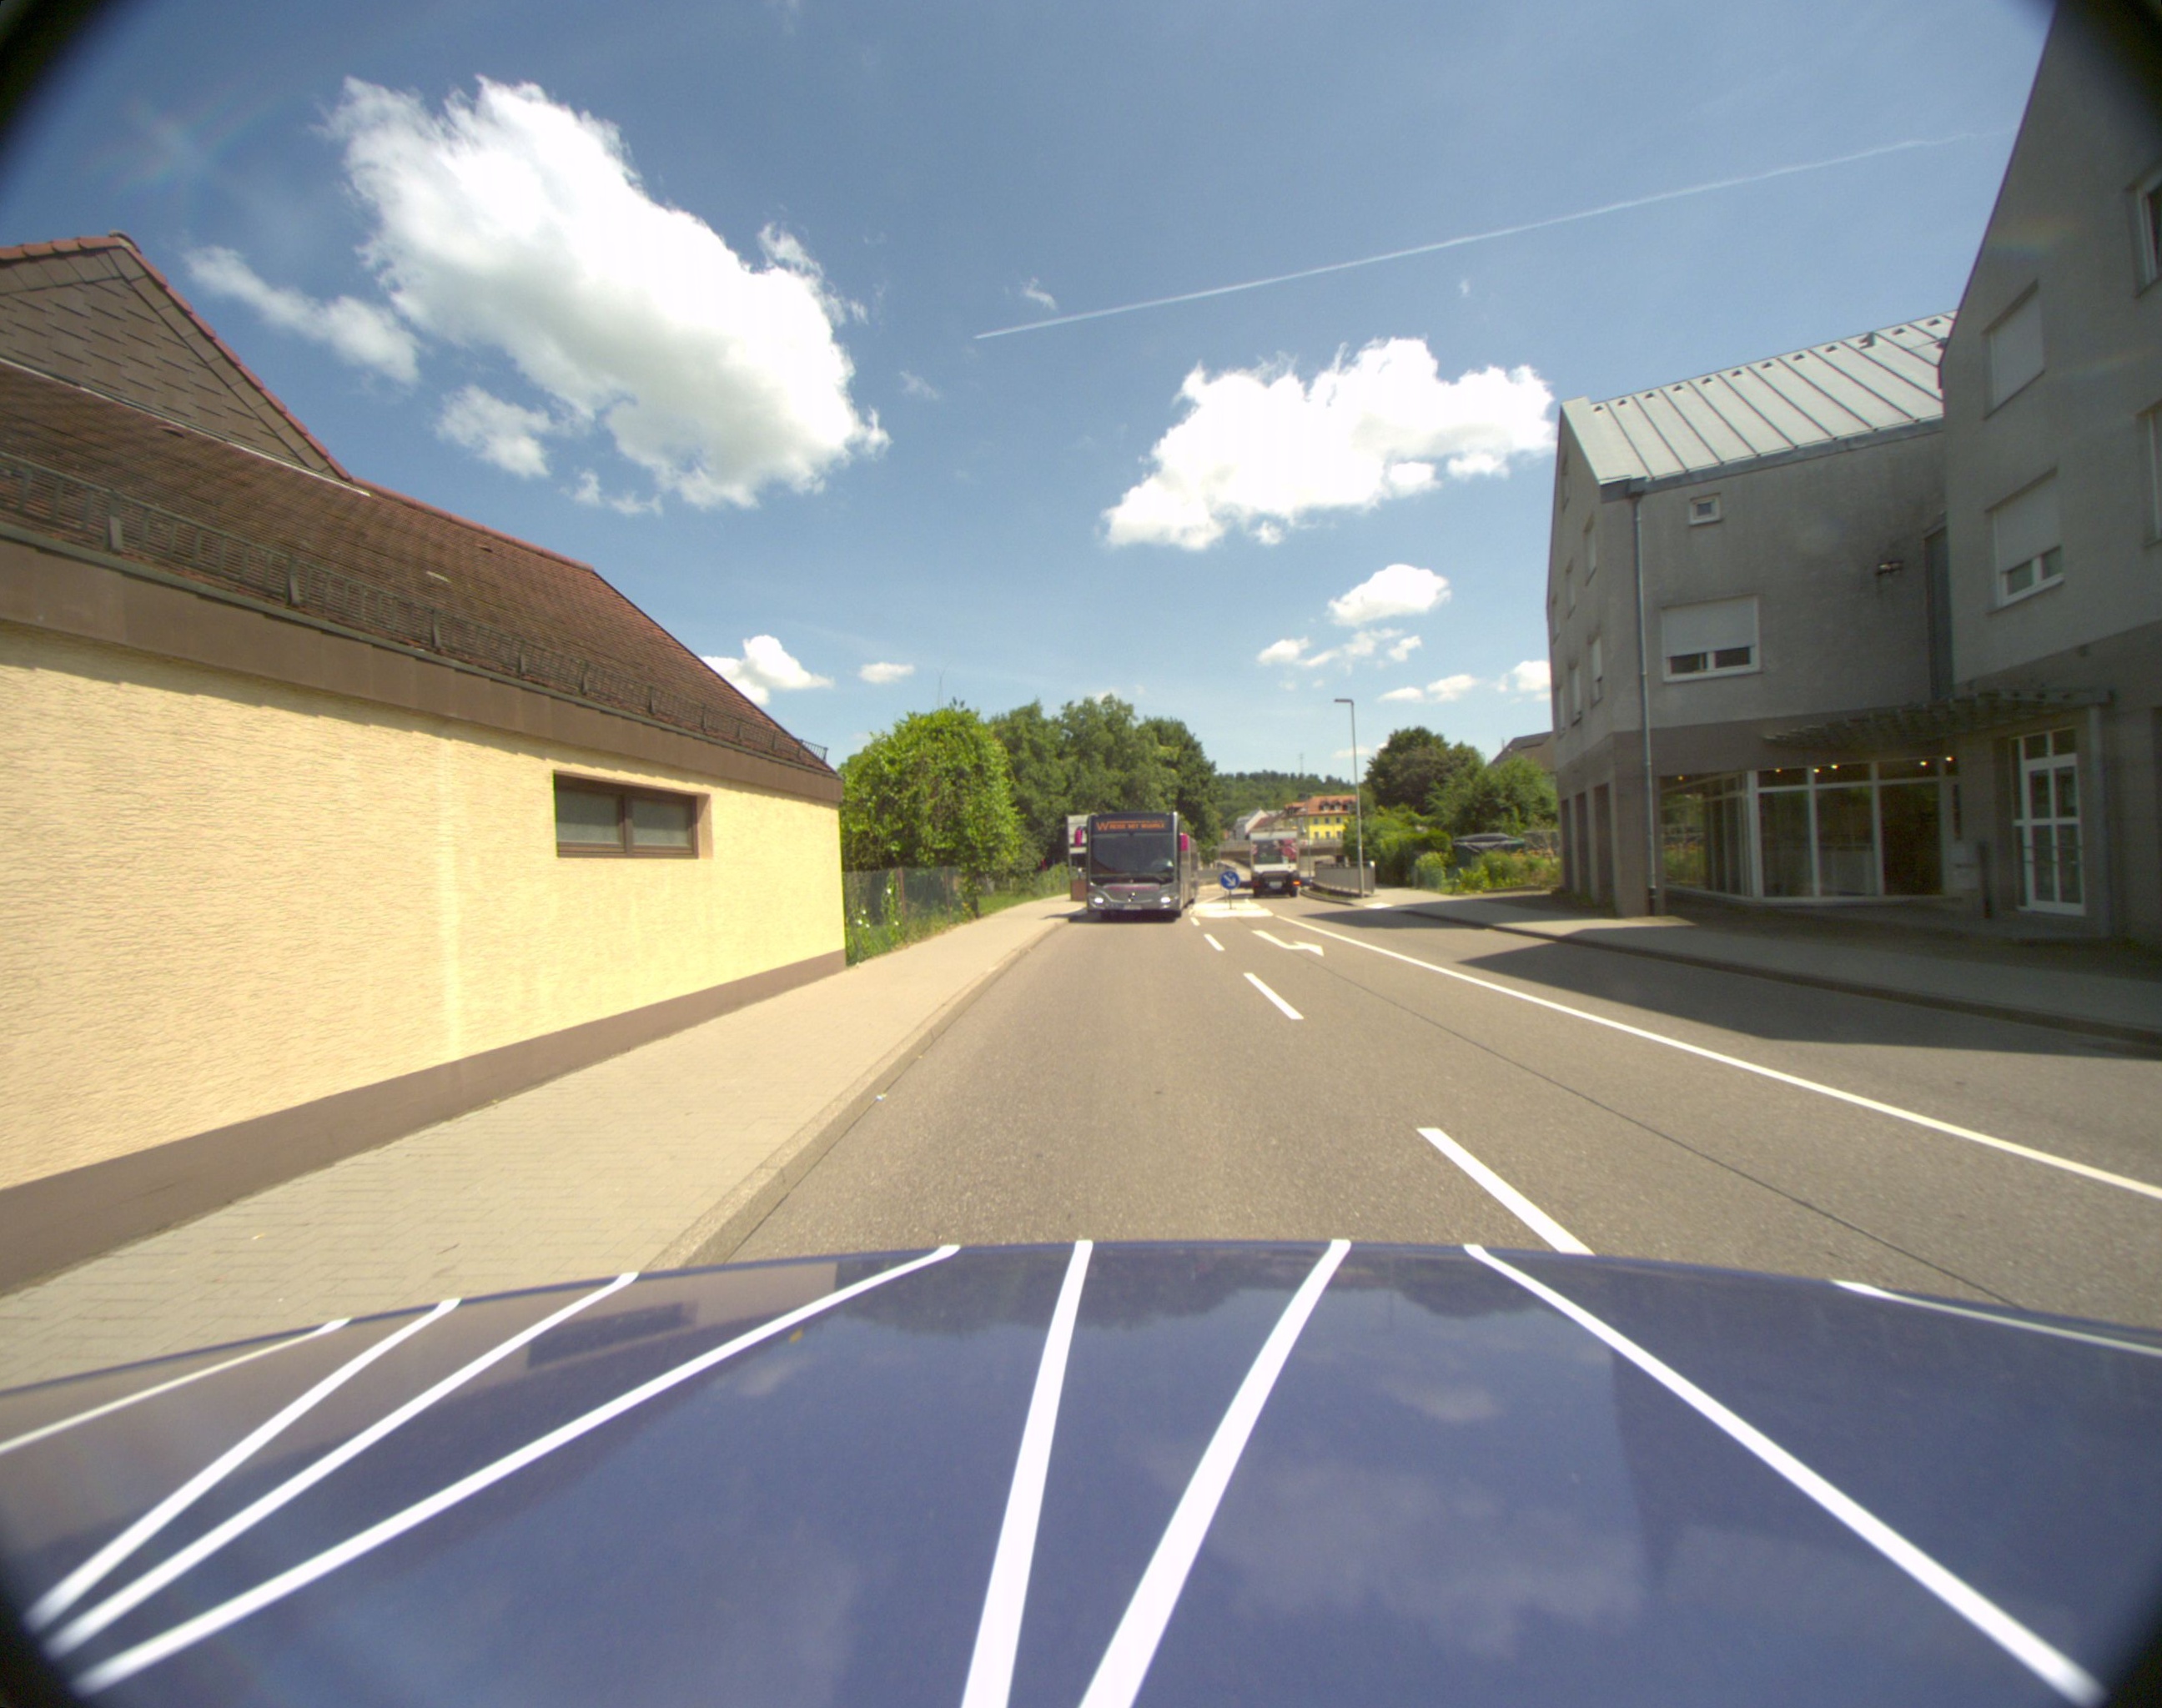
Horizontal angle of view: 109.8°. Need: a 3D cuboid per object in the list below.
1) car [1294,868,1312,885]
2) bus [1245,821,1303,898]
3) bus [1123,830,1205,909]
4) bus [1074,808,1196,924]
[{"bbox_3d":[28.800,2.876,98.459,1.996,2.002,4.004,-1,1,14],"label":"car"},{"bbox_3d":[11.454,0.454,45.911,2.815,3.977,10.980,-3,-2,12],"label":"bus"},{"bbox_3d":[3.886,0.752,33.549,2.753,2.949,9.291,-2,-2,11],"label":"bus"},{"bbox_3d":[2.079,0.466,24.392,2.753,2.949,9.291,-2,-2,11],"label":"bus"}]
